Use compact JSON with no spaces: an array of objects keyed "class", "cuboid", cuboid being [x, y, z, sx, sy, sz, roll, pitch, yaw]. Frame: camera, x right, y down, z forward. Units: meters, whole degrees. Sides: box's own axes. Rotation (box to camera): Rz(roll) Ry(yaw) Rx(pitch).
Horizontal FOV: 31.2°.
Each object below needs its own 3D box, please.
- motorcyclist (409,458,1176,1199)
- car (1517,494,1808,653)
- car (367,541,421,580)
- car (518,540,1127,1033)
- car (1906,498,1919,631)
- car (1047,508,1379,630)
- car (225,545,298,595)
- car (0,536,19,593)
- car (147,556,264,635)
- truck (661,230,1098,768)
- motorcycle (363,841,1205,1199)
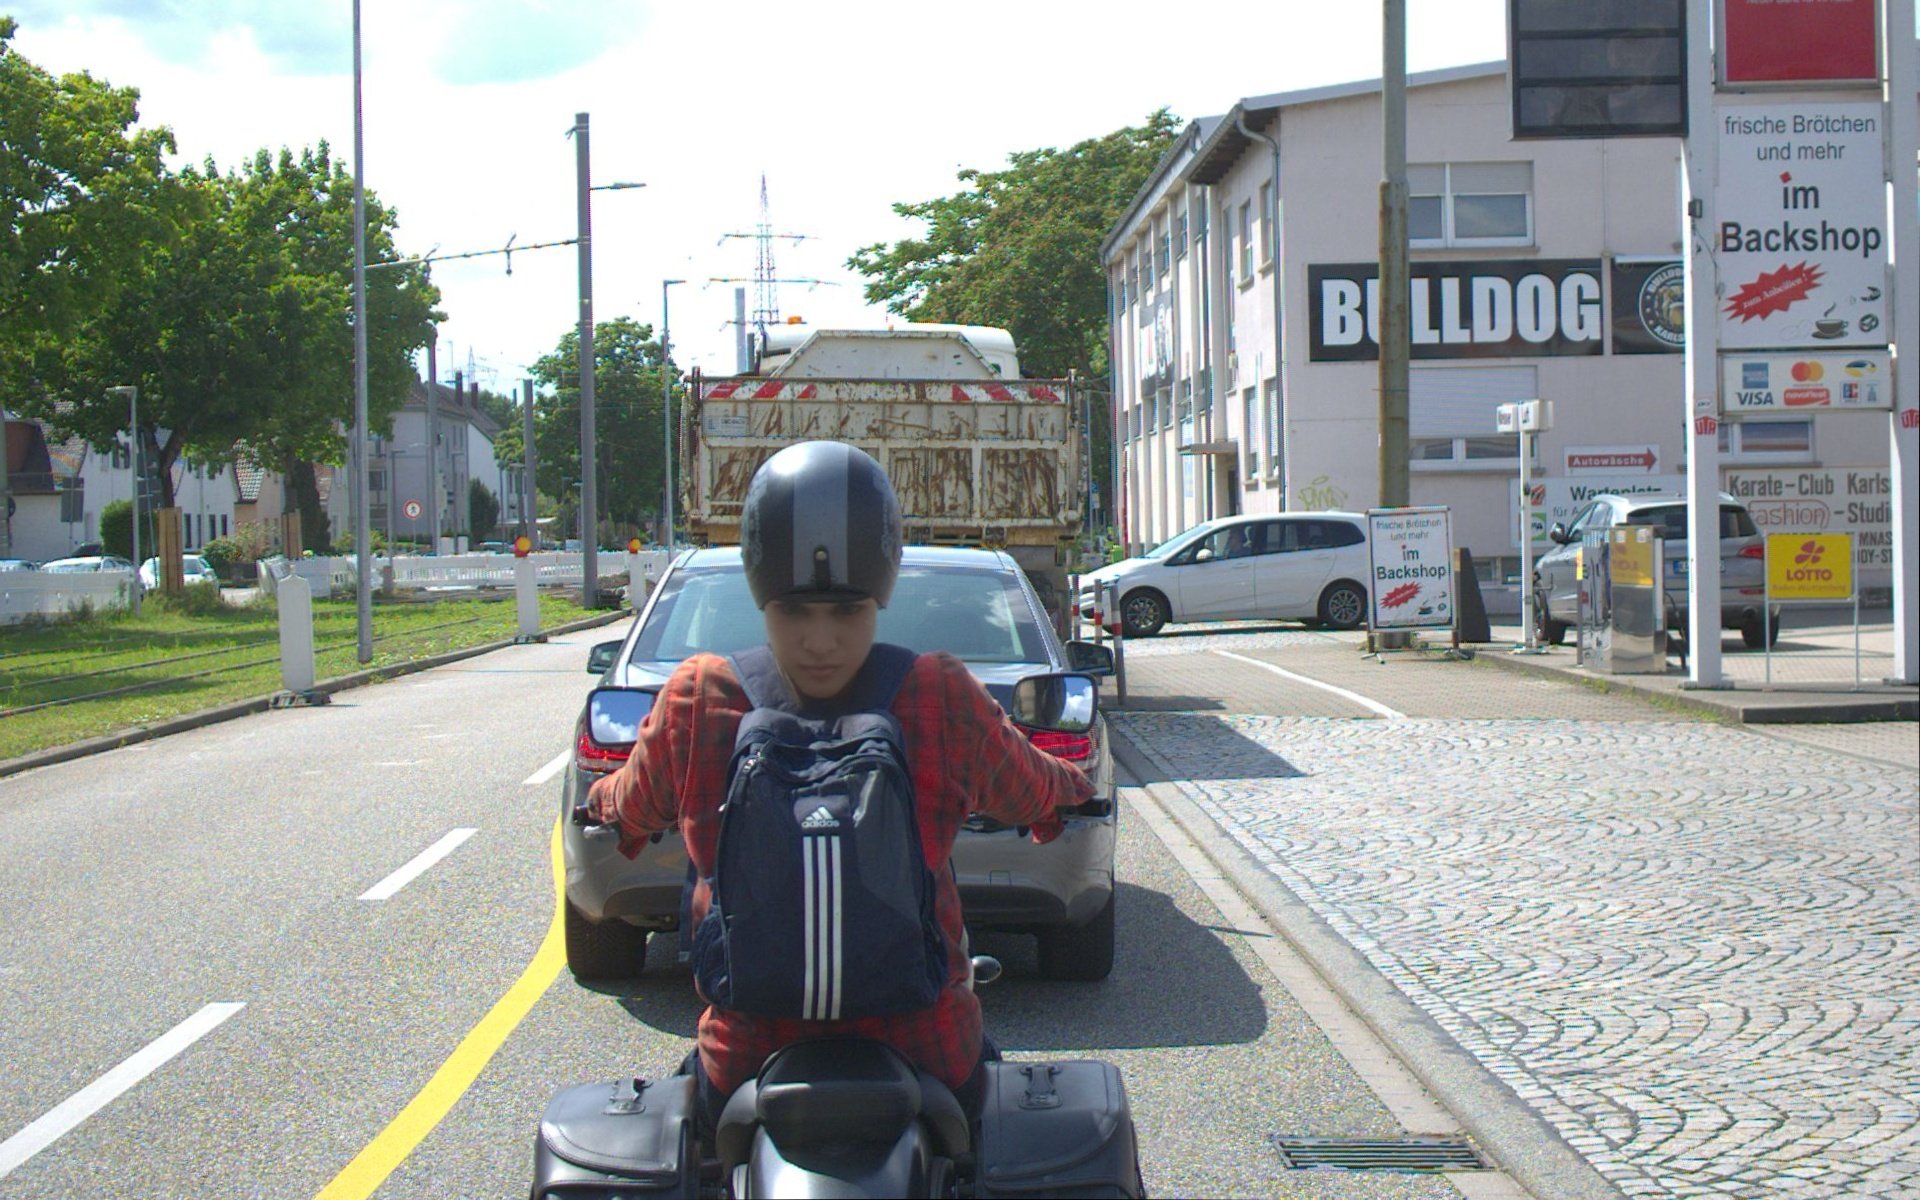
[{"class":"motorcyclist","cuboid":[-0.216,0.612,5.030,0.979,1.597,1.088,-1,1,-1]},{"class":"car","cuboid":[7.379,-0.309,36.524,1.667,1.557,4.245,-1,1,-8]},{"class":"car","cuboid":[-26.436,-1.853,160.664,1.776,1.717,4.250,-1,1,0]},{"class":"car","cuboid":[-0.440,0.531,12.420,1.823,1.447,4.000,1,1,-1]},{"class":"car","cuboid":[11.734,-0.384,37.093,1.806,1.498,3.834,-1,1,-3]},{"class":"car","cuboid":[3.438,-0.437,47.042,4.229,1.537,1.673,-1,1,-8]},{"class":"car","cuboid":[-25.419,-1.100,125.245,1.776,1.717,4.128,-1,1,0]},{"class":"car","cuboid":[-30.044,-1.061,104.408,1.776,1.717,4.128,-1,1,0]},{"class":"car","cuboid":[-17.496,-0.129,79.859,1.776,1.717,4.128,-1,1,0]},{"class":"truck","cuboid":[-0.542,-0.717,25.367,2.638,3.285,8.057,-1,1,-1]},{"class":"motorcycle","cuboid":[-0.212,0.954,5.342,0.979,0.894,2.653,-1,1,-1]}]
